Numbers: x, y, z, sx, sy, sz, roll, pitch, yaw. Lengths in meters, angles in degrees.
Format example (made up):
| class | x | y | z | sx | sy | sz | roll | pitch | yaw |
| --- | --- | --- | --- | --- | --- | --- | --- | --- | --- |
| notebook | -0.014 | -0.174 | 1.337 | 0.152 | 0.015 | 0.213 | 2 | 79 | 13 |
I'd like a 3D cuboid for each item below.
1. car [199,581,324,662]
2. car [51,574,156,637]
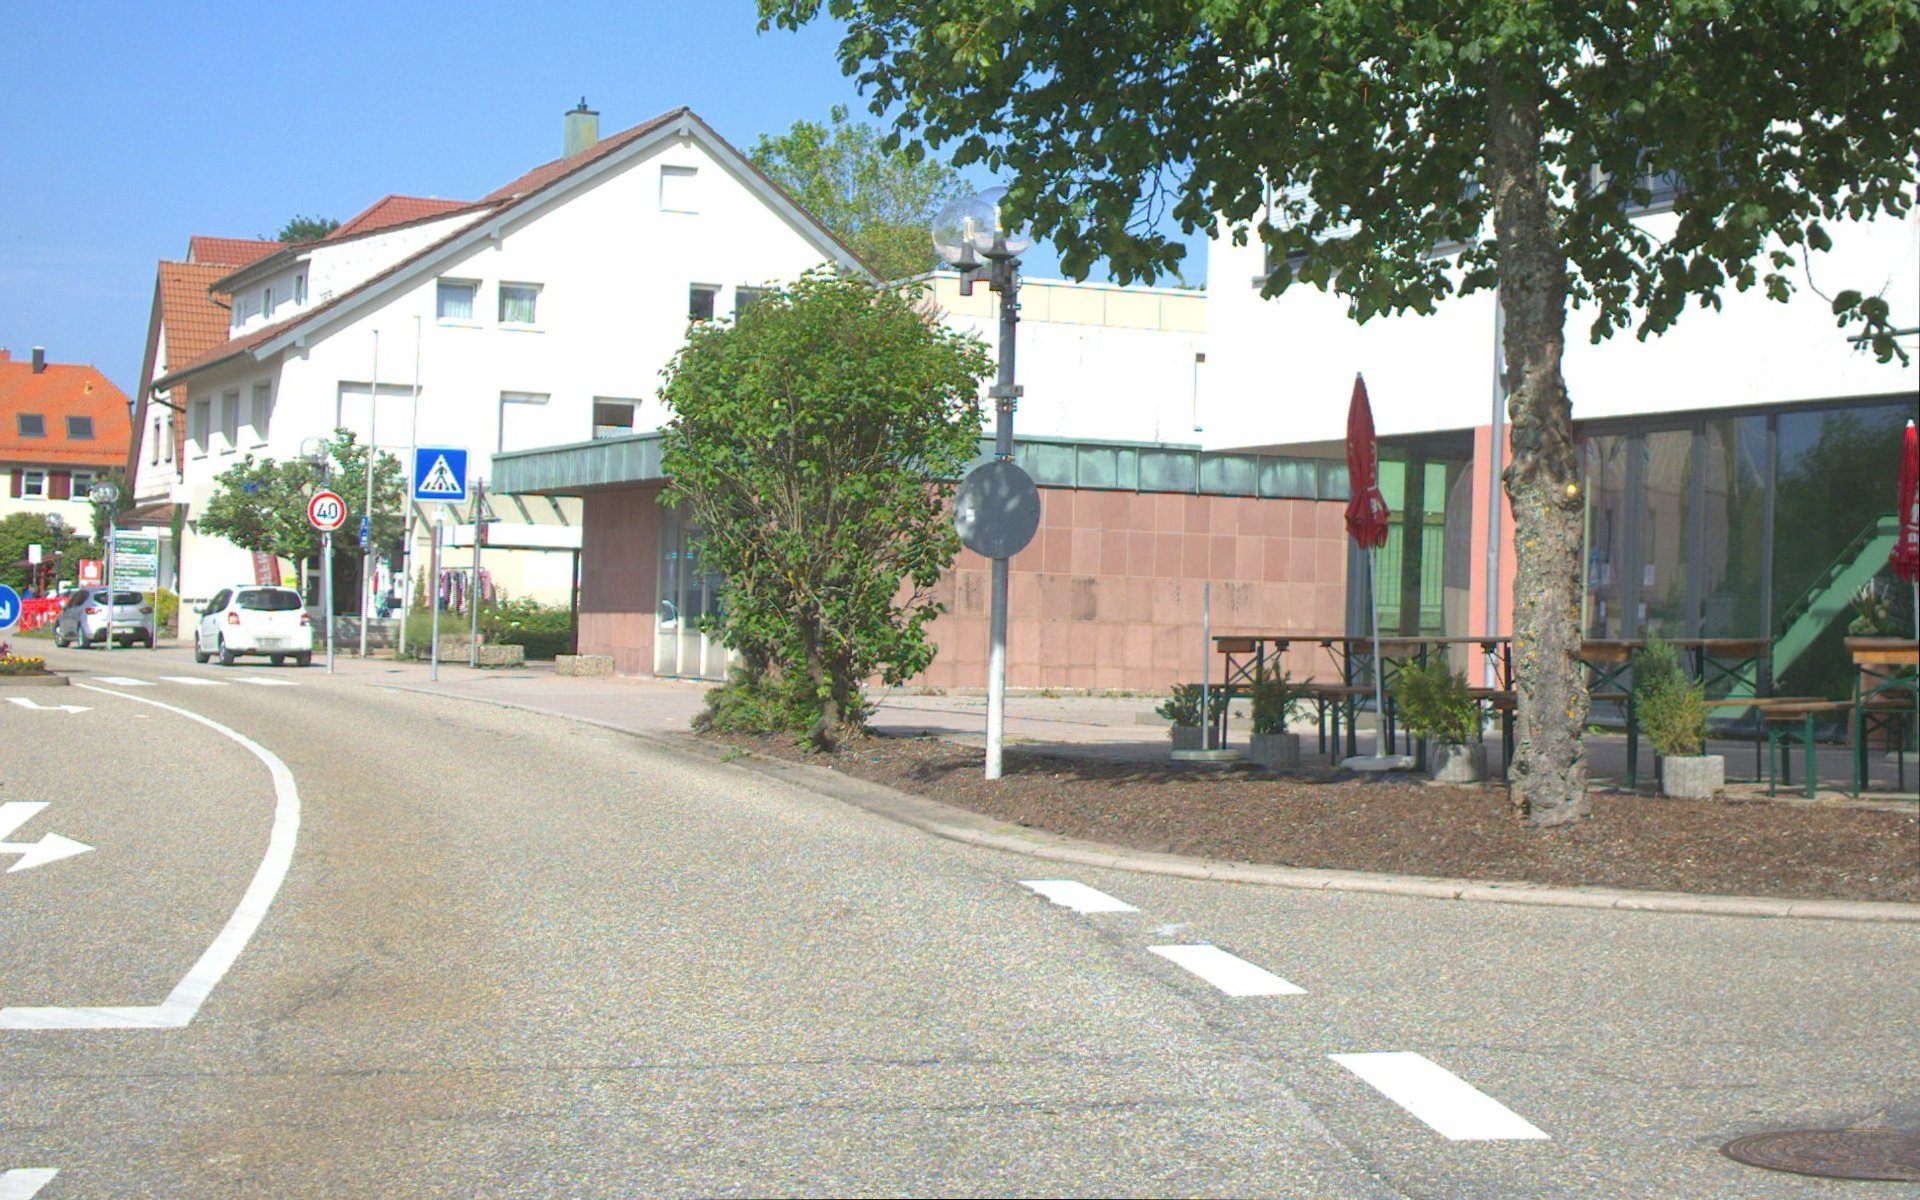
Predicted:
| class | x | y | z | sx | sy | sz | roll | pitch | yaw |
| --- | --- | --- | --- | --- | --- | --- | --- | --- | --- |
| car | -12.845 | 0.365 | 63.096 | 1.760 | 1.418 | 3.635 | -1 | 1 | -19 |
| car | -19.988 | 0.116 | 80.125 | 1.635 | 1.415 | 3.936 | -1 | 1 | -25 |
